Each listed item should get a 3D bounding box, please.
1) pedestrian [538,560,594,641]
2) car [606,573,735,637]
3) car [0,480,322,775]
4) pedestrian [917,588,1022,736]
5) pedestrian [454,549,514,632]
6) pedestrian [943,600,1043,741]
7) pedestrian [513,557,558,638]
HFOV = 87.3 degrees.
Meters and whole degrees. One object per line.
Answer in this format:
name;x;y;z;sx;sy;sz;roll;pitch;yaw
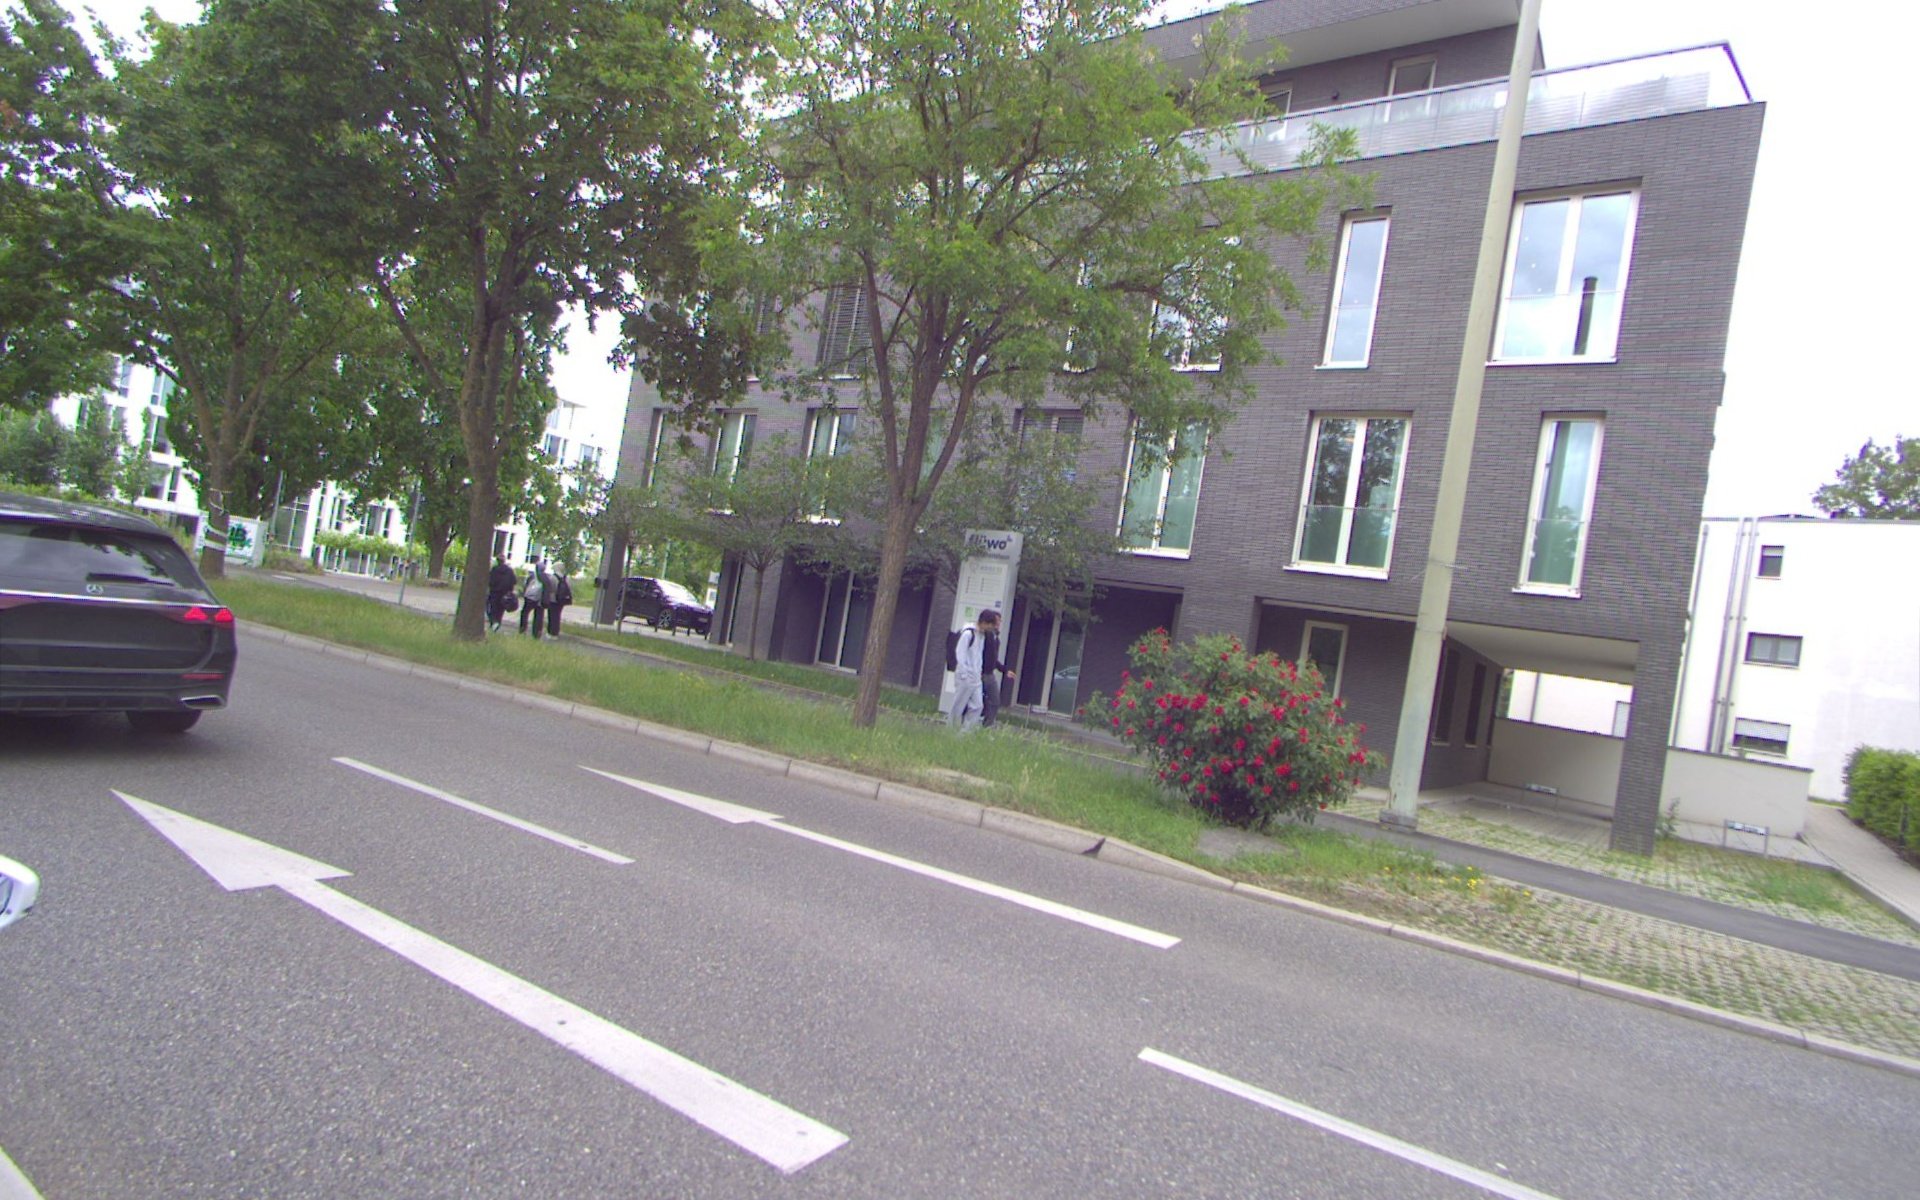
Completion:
pedestrian;-8.310;0.005;21.227;0.732;1.569;0.590;7;-2;37
car;-9.822;0.152;34.046;4.112;1.569;1.828;7;-2;34
car;-6.773;-0.063;6.754;4.888;1.503;2.058;7;-2;30
pedestrian;0.127;0.828;13.427;0.938;1.796;0.609;10;0;32
pedestrian;-9.673;-0.188;20.441;0.578;1.570;0.726;7;-1;36
pedestrian;0.465;0.983;14.041;0.938;1.796;0.609;10;0;32
pedestrian;-8.662;-0.053;20.526;0.553;1.569;0.409;7;-3;37
